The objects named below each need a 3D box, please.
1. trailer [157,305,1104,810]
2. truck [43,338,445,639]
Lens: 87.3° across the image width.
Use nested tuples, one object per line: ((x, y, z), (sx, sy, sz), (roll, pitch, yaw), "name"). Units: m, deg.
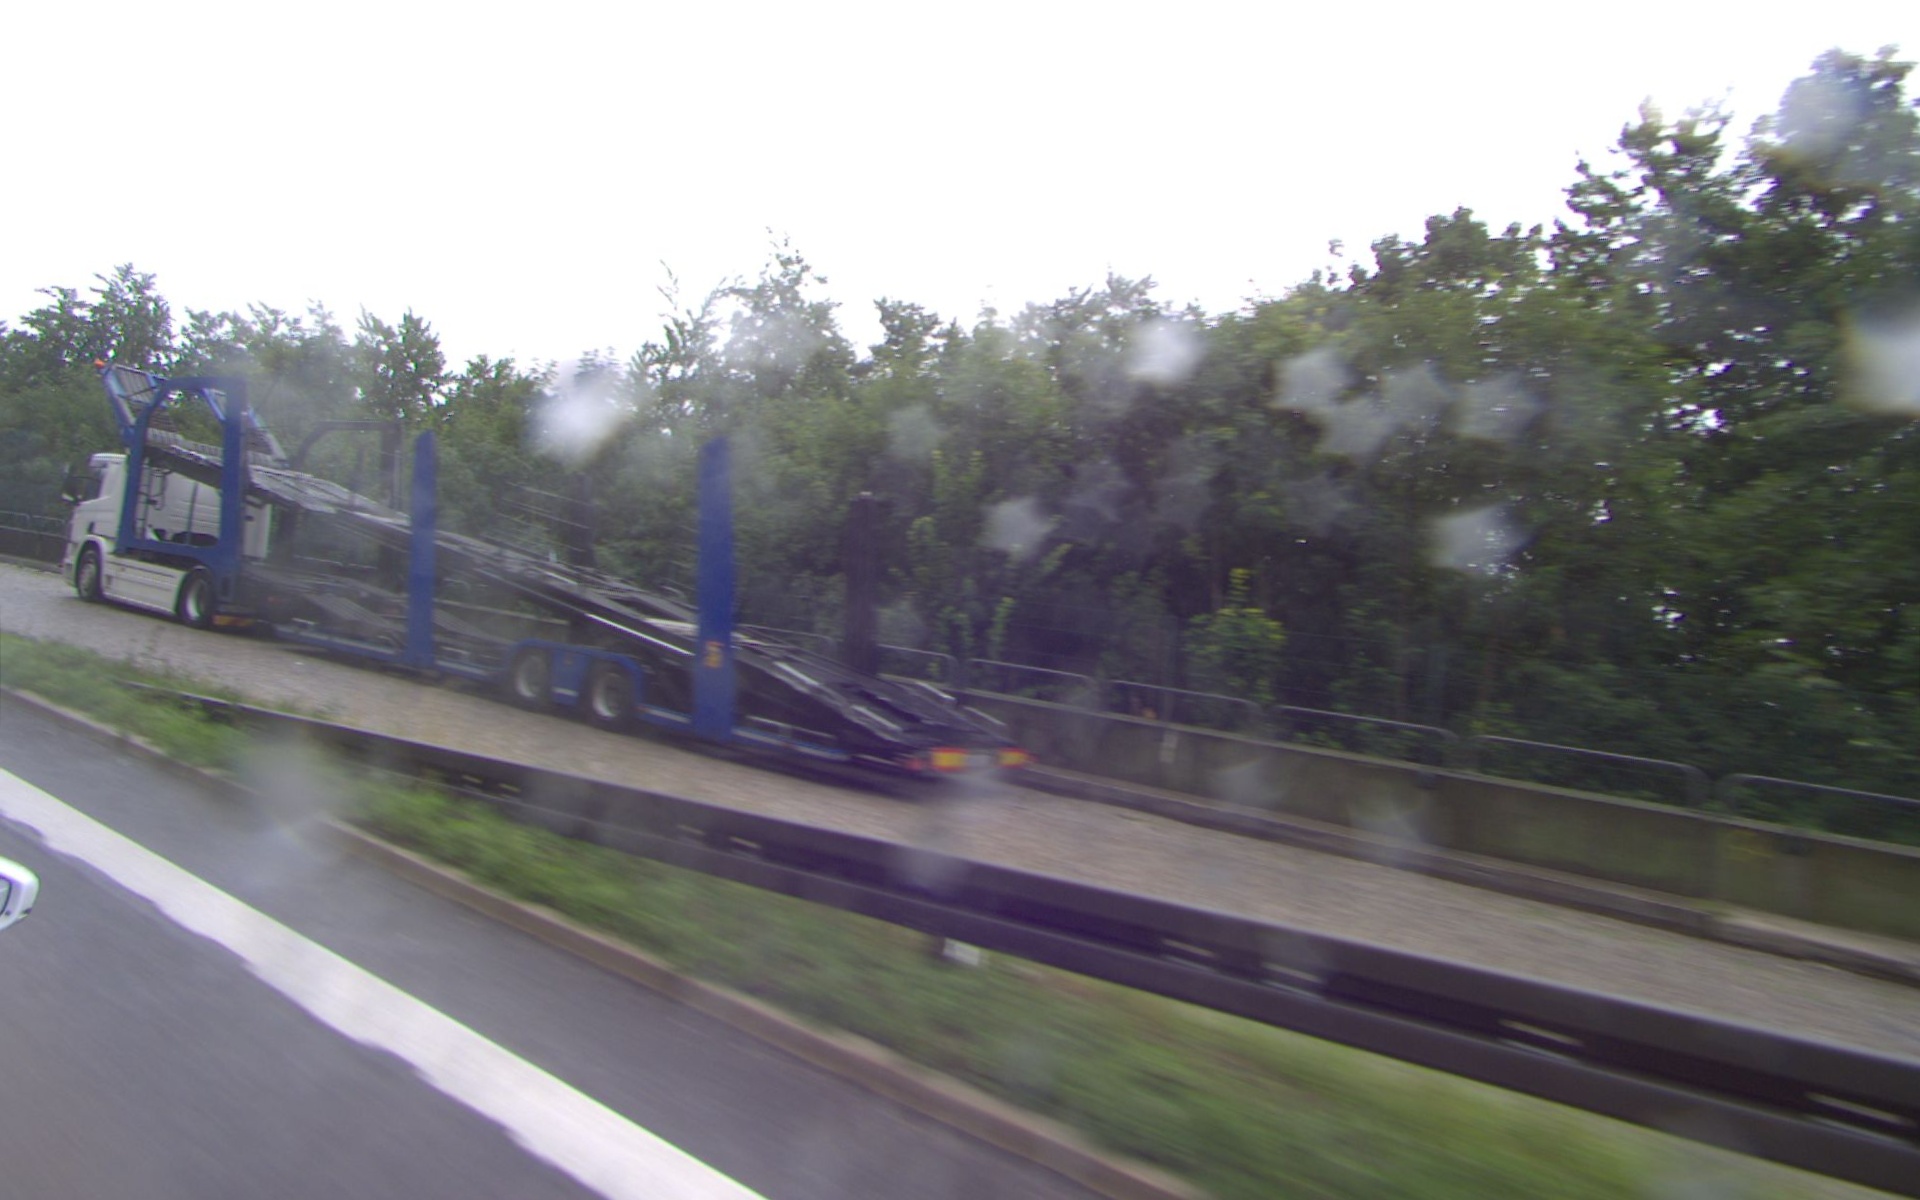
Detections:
((-5.561, -0.922, 13.462), (14.451, 4.295, 2.898), (6, -1, 31), "trailer")
((-12.748, -1.918, 17.787), (6.765, 4.295, 2.902), (7, -1, 30), "truck")
